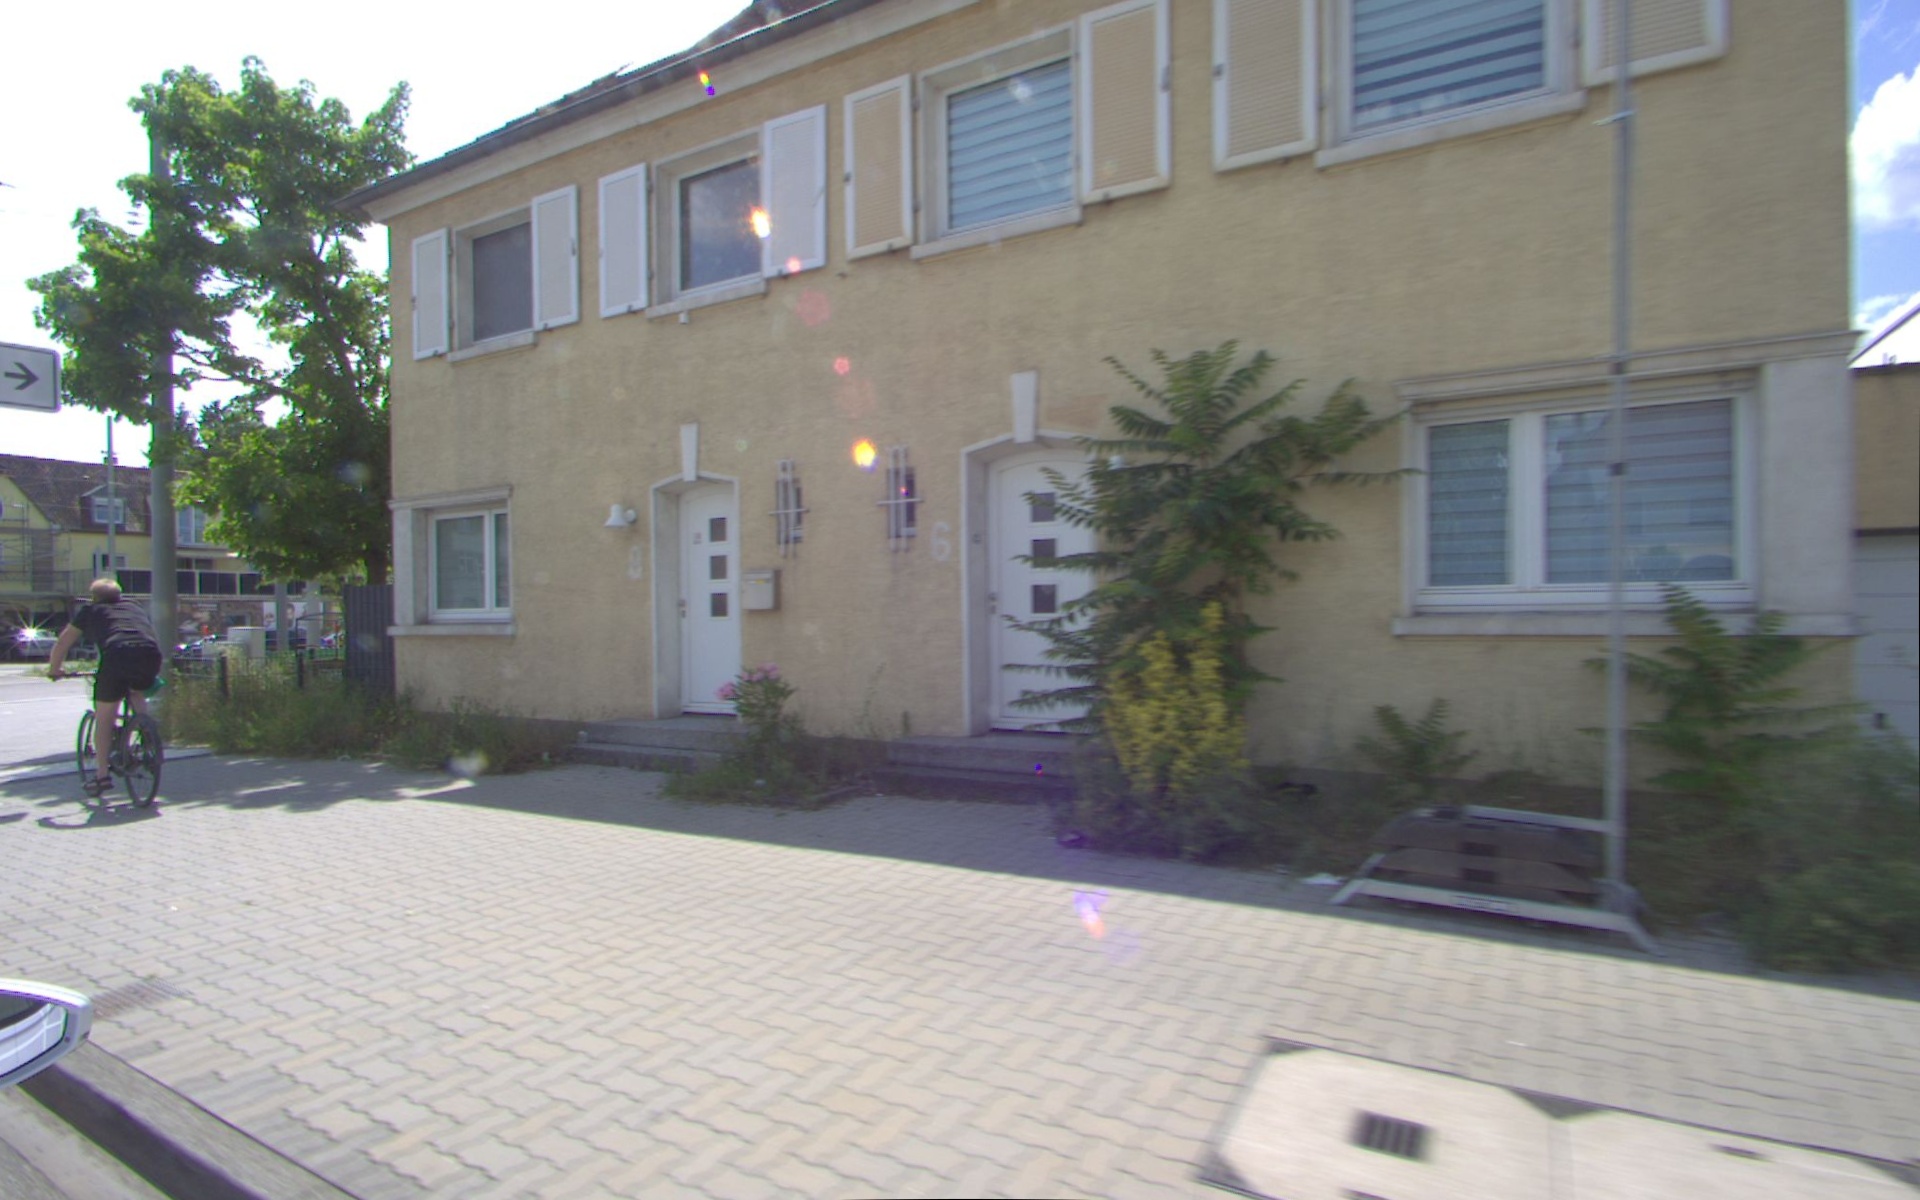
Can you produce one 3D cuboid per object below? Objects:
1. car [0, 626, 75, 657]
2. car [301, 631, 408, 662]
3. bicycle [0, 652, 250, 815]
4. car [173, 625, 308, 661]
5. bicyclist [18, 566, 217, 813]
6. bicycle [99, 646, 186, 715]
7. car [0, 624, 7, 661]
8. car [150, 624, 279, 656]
[{"bbox_3d":[-42.507,1.905,45.888,4.073,1.368,1.865,-2,-3,32],"label":"car"},{"bbox_3d":[-30.156,2.322,50.006,1.713,1.492,4.313,-2,-3,29],"label":"car"},{"bbox_3d":[-6.640,0.997,7.953,1.940,1.090,0.827,-1,1,28],"label":"bicycle"},{"bbox_3d":[-30.305,1.794,42.320,1.713,1.346,4.310,-2,0,29],"label":"car"},{"bbox_3d":[-6.697,0.659,7.976,1.067,1.818,0.827,0,1,28],"label":"bicyclist"},{"bbox_3d":[-12.998,1.256,15.975,0.455,1.031,1.753,0,-2,-18],"label":"bicycle"},{"bbox_3d":[-43.680,1.879,43.781,4.073,1.616,1.990,-2,-3,32],"label":"car"},{"bbox_3d":[-33.122,1.795,44.625,1.713,1.324,4.313,-2,-3,29],"label":"car"}]
